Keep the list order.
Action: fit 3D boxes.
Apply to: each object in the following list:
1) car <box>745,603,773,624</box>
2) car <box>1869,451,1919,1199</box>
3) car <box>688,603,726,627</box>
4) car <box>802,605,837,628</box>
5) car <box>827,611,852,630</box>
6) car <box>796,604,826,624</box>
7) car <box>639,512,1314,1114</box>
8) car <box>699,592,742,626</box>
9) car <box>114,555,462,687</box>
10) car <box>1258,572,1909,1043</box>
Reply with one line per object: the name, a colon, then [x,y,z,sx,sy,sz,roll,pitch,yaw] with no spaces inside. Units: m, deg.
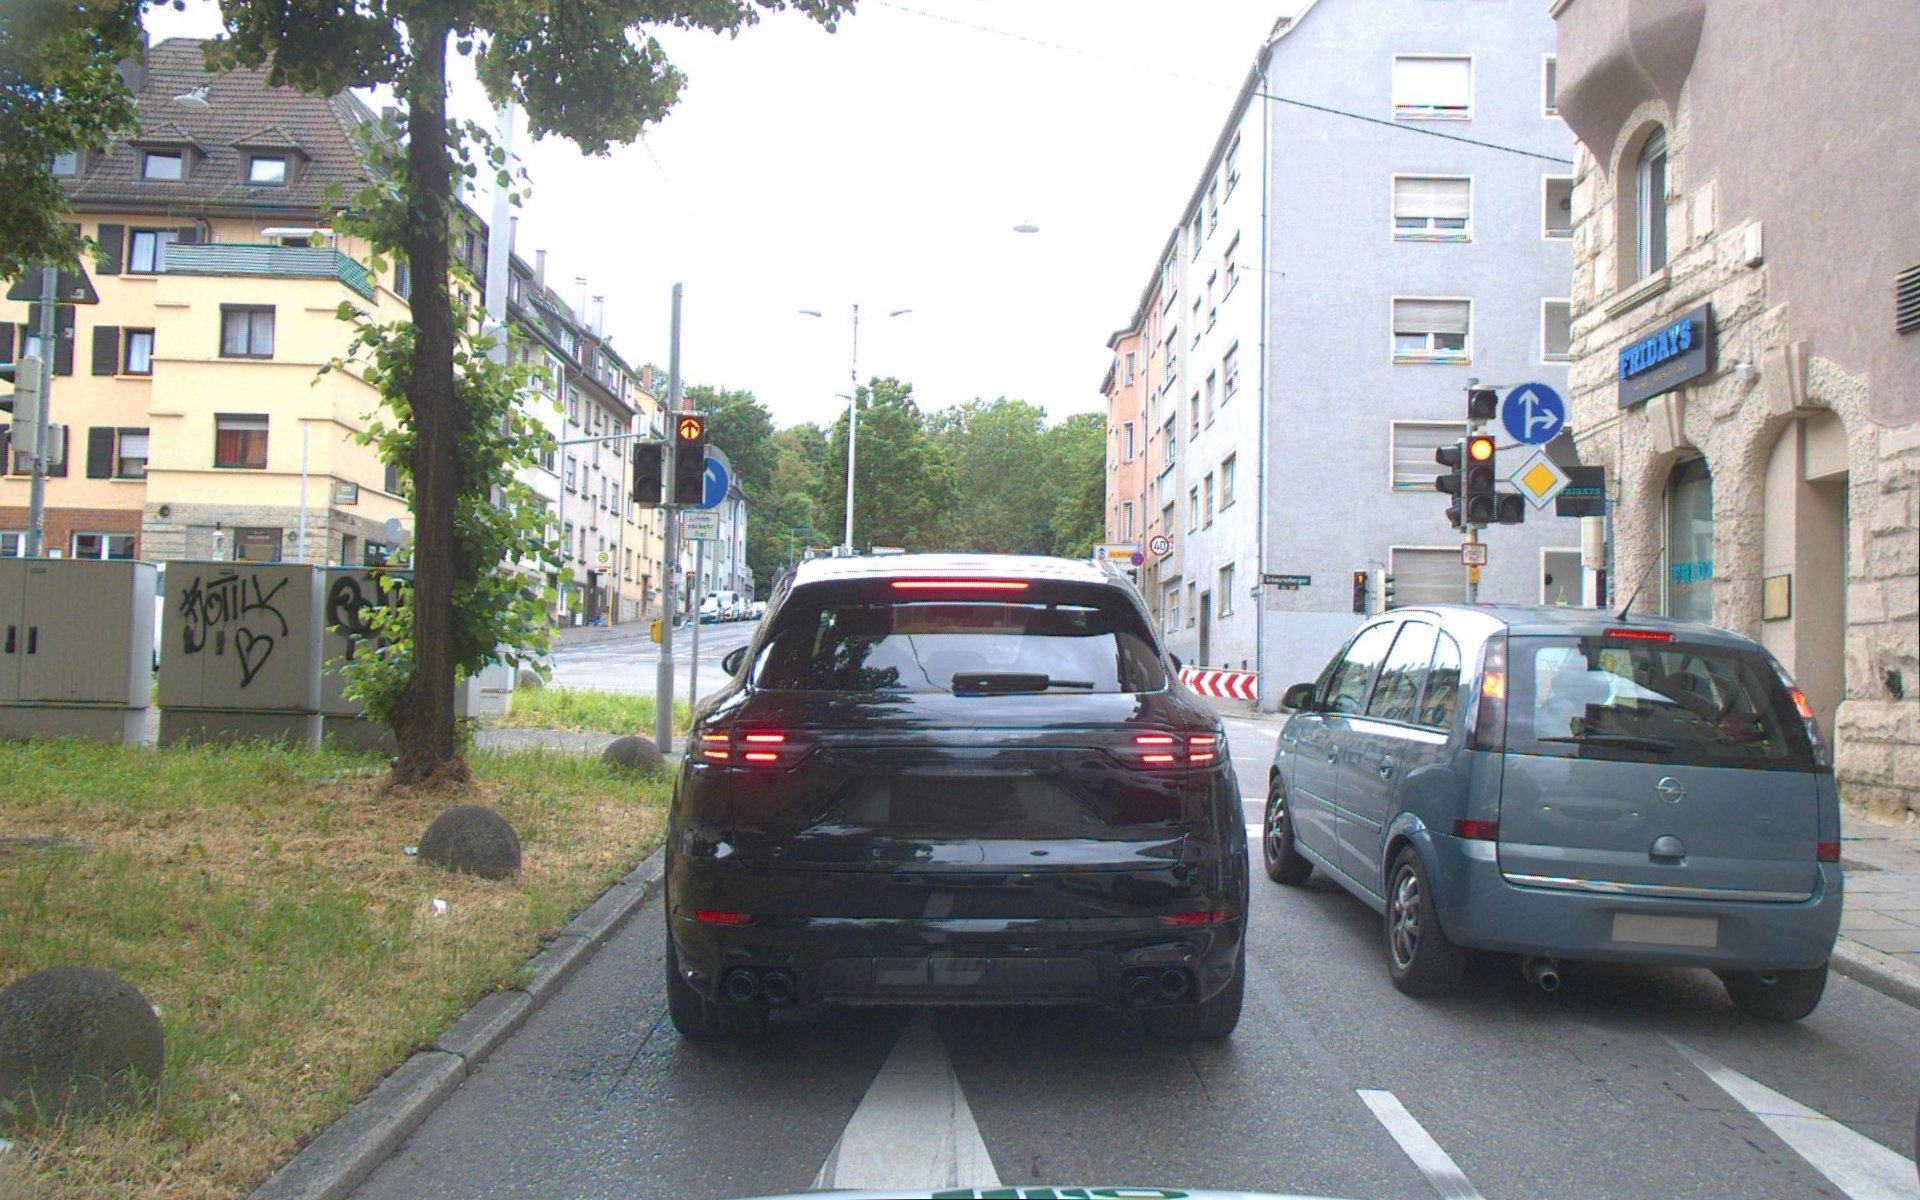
car: [-15.157,1.010,124.719,1.655,1.565,3.813,1,0,0]
car: [2.914,0.670,1.021,1.936,1.806,4.674,4,0,-2]
car: [-15.059,0.891,98.633,1.703,1.411,3.813,1,0,0]
car: [-8.727,1.016,102.642,1.824,1.412,4.094,1,0,0]
car: [-11.006,1.834,151.159,1.933,1.638,4.557,1,0,-1]
car: [-11.523,1.092,128.048,1.806,1.512,3.899,1,0,2]
car: [0.023,0.614,6.709,1.916,1.704,3.999,0,0,-1]
car: [-15.021,0.561,103.946,1.975,2.081,4.666,1,0,0]
car: [-9.302,0.307,23.202,4.172,1.622,1.687,2,-1,-9]
car: [2.629,0.772,7.914,1.596,1.625,3.668,4,0,-1]
